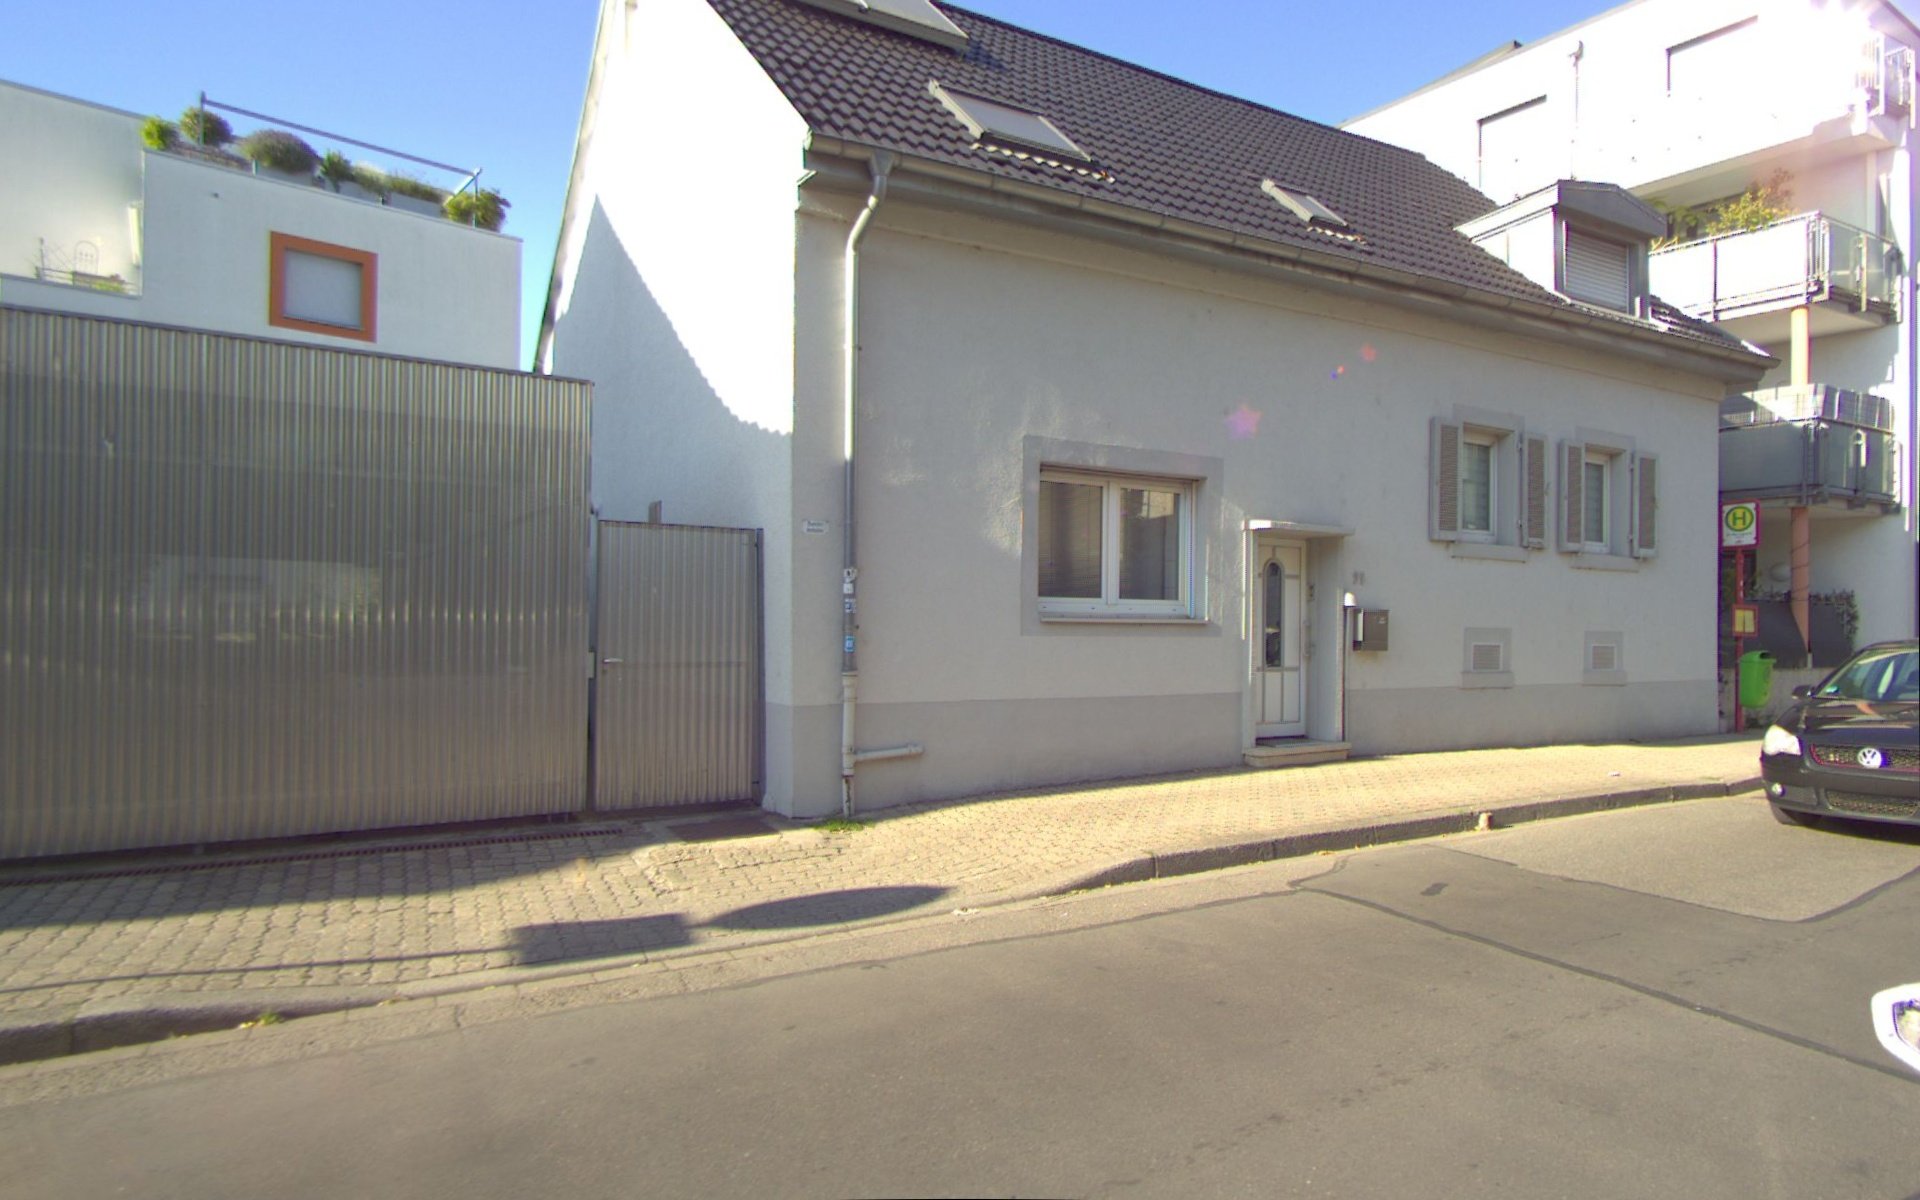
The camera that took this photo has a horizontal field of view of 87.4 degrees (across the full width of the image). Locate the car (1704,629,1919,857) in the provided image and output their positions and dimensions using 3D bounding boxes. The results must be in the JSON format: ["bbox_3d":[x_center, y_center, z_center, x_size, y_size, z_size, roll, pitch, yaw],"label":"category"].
[{"bbox_3d":[7.968,1.019,7.961,4.095,1.510,1.834,2,-4,-30],"label":"car"}]
